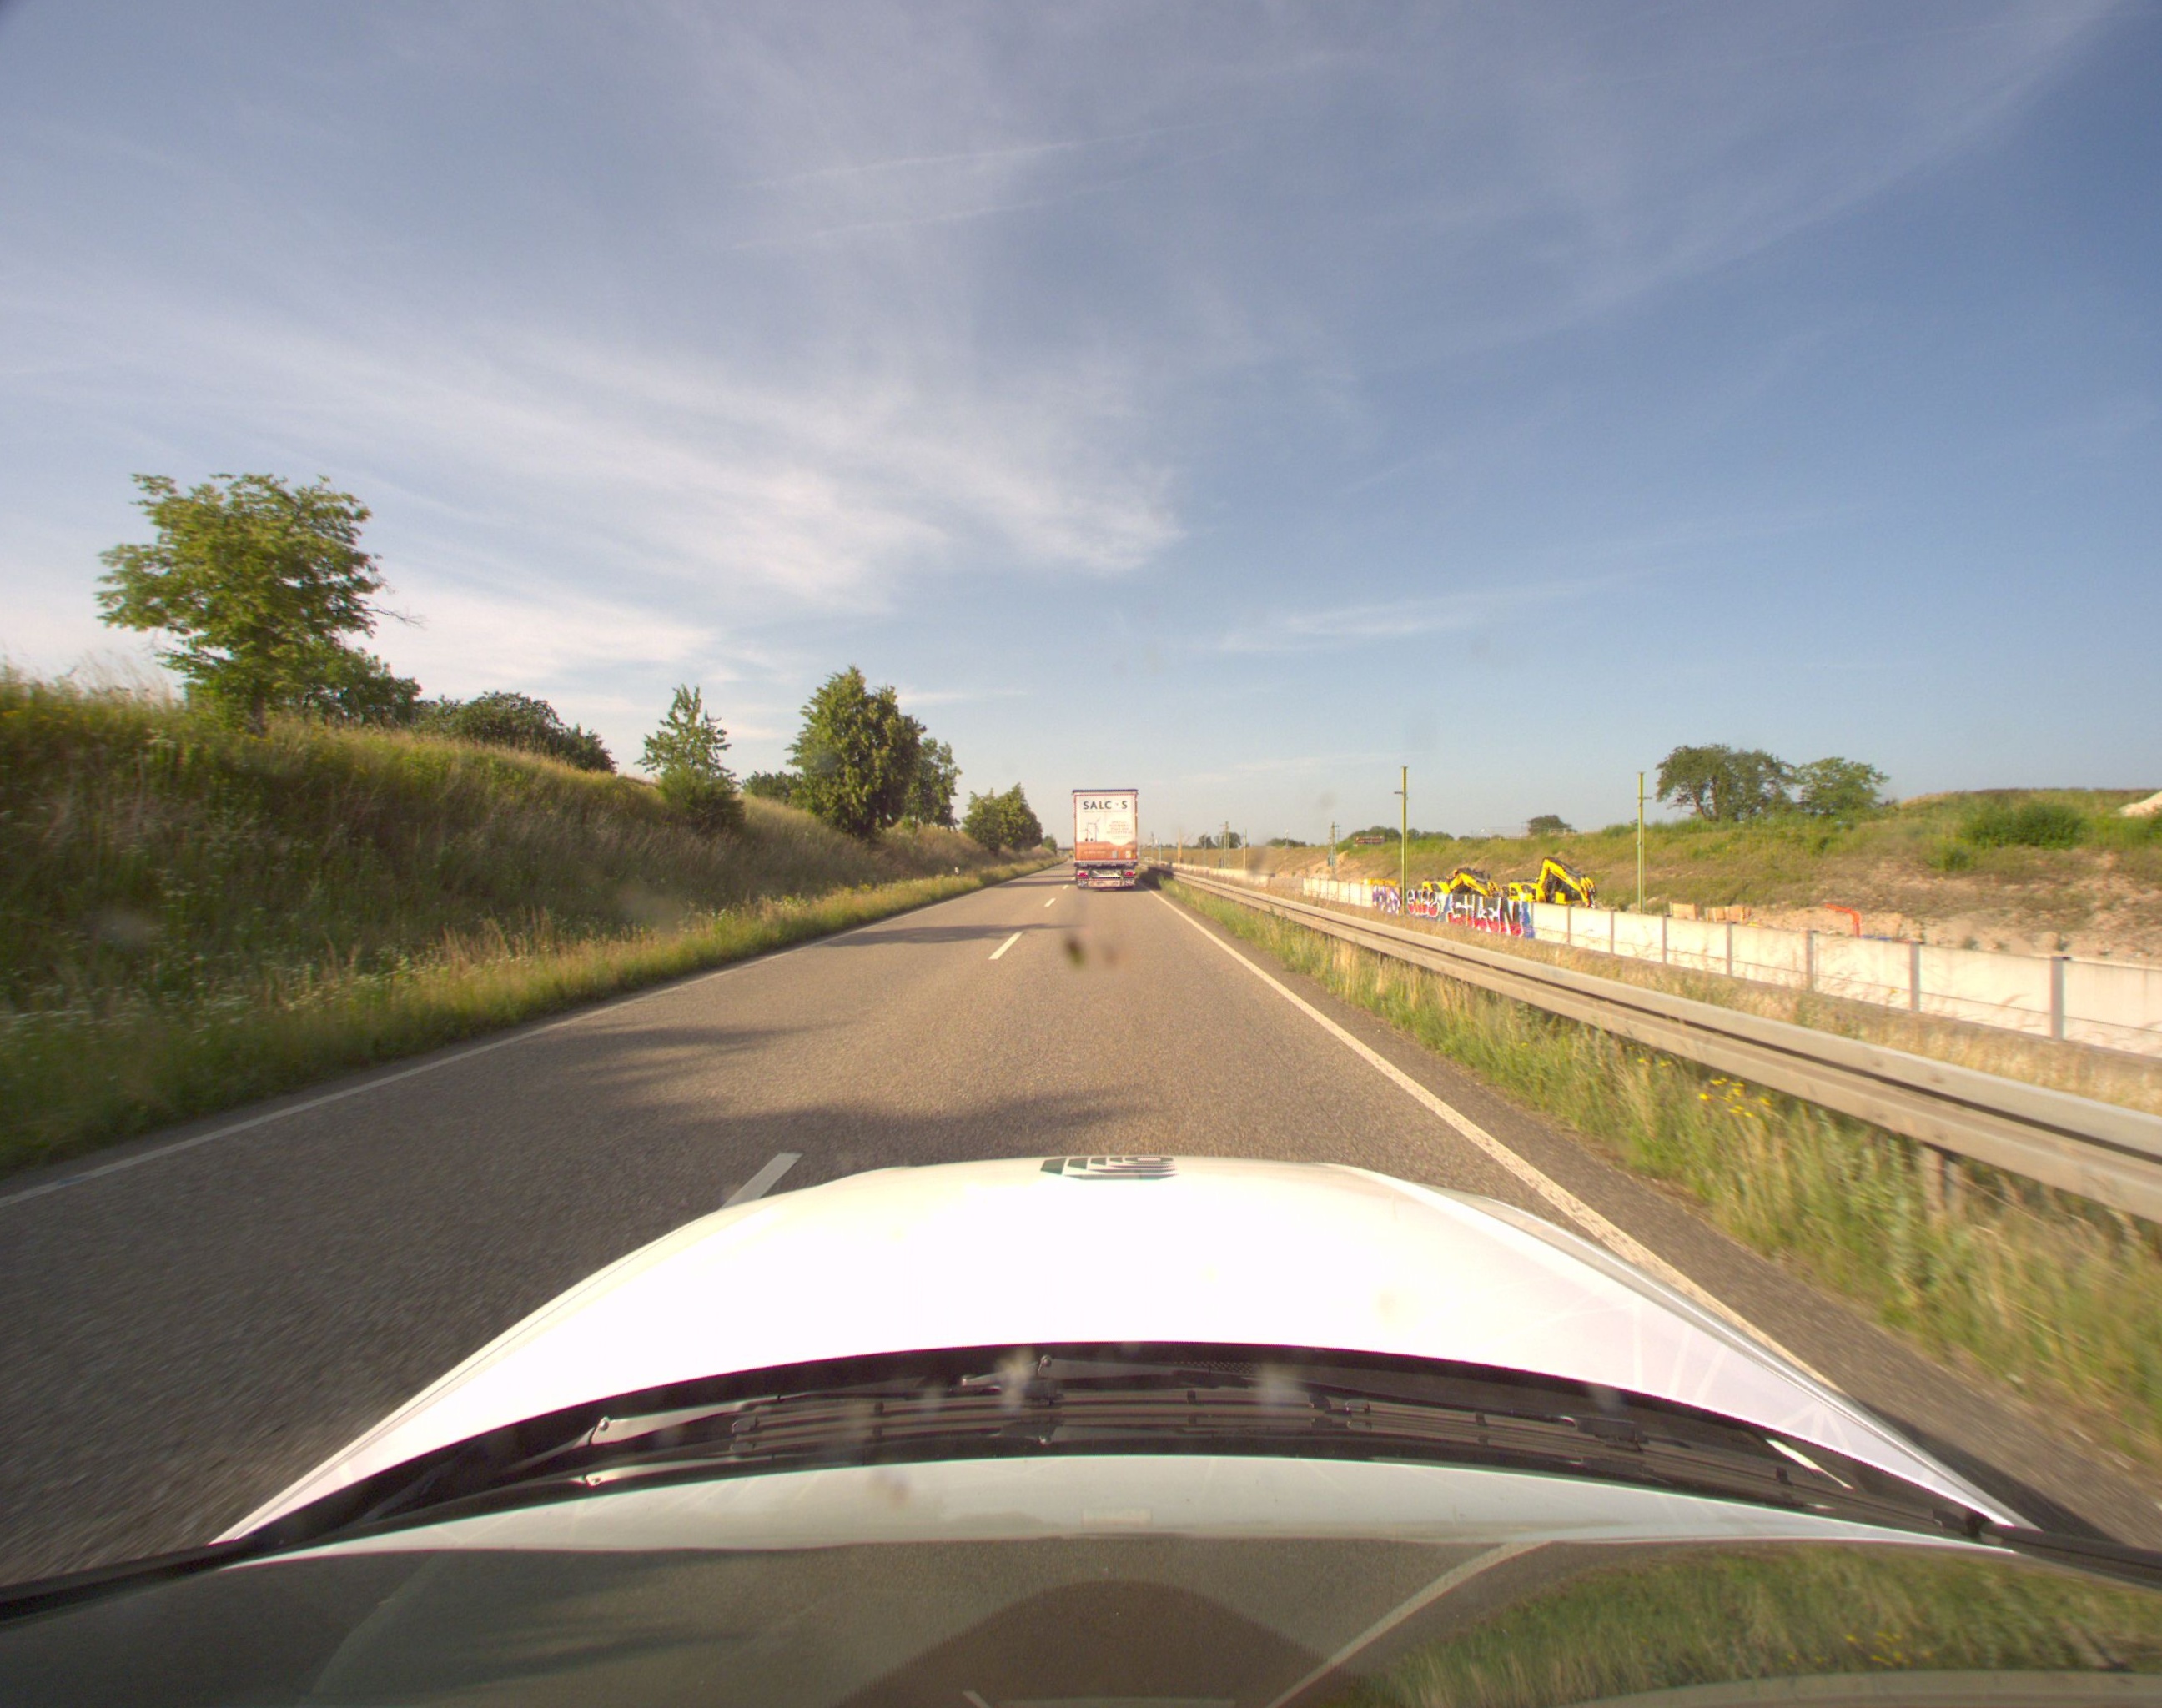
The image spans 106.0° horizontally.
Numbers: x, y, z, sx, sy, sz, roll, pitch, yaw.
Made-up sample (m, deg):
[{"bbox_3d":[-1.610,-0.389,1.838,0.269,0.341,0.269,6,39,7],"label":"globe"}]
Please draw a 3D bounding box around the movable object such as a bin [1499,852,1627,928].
[{"bbox_3d":[26.750,1.826,45.704,2.787,3.886,7.539,0,0,1],"label":"movable object such as a bin"}]

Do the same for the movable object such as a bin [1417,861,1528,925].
[{"bbox_3d":[22.314,2.093,46.969,2.612,3.239,8.074,0,0,1],"label":"movable object such as a bin"}]

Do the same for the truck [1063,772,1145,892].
[{"bbox_3d":[1.061,-0.861,36.313,3.141,4.688,8.445,-1,0,2],"label":"truck"}]
